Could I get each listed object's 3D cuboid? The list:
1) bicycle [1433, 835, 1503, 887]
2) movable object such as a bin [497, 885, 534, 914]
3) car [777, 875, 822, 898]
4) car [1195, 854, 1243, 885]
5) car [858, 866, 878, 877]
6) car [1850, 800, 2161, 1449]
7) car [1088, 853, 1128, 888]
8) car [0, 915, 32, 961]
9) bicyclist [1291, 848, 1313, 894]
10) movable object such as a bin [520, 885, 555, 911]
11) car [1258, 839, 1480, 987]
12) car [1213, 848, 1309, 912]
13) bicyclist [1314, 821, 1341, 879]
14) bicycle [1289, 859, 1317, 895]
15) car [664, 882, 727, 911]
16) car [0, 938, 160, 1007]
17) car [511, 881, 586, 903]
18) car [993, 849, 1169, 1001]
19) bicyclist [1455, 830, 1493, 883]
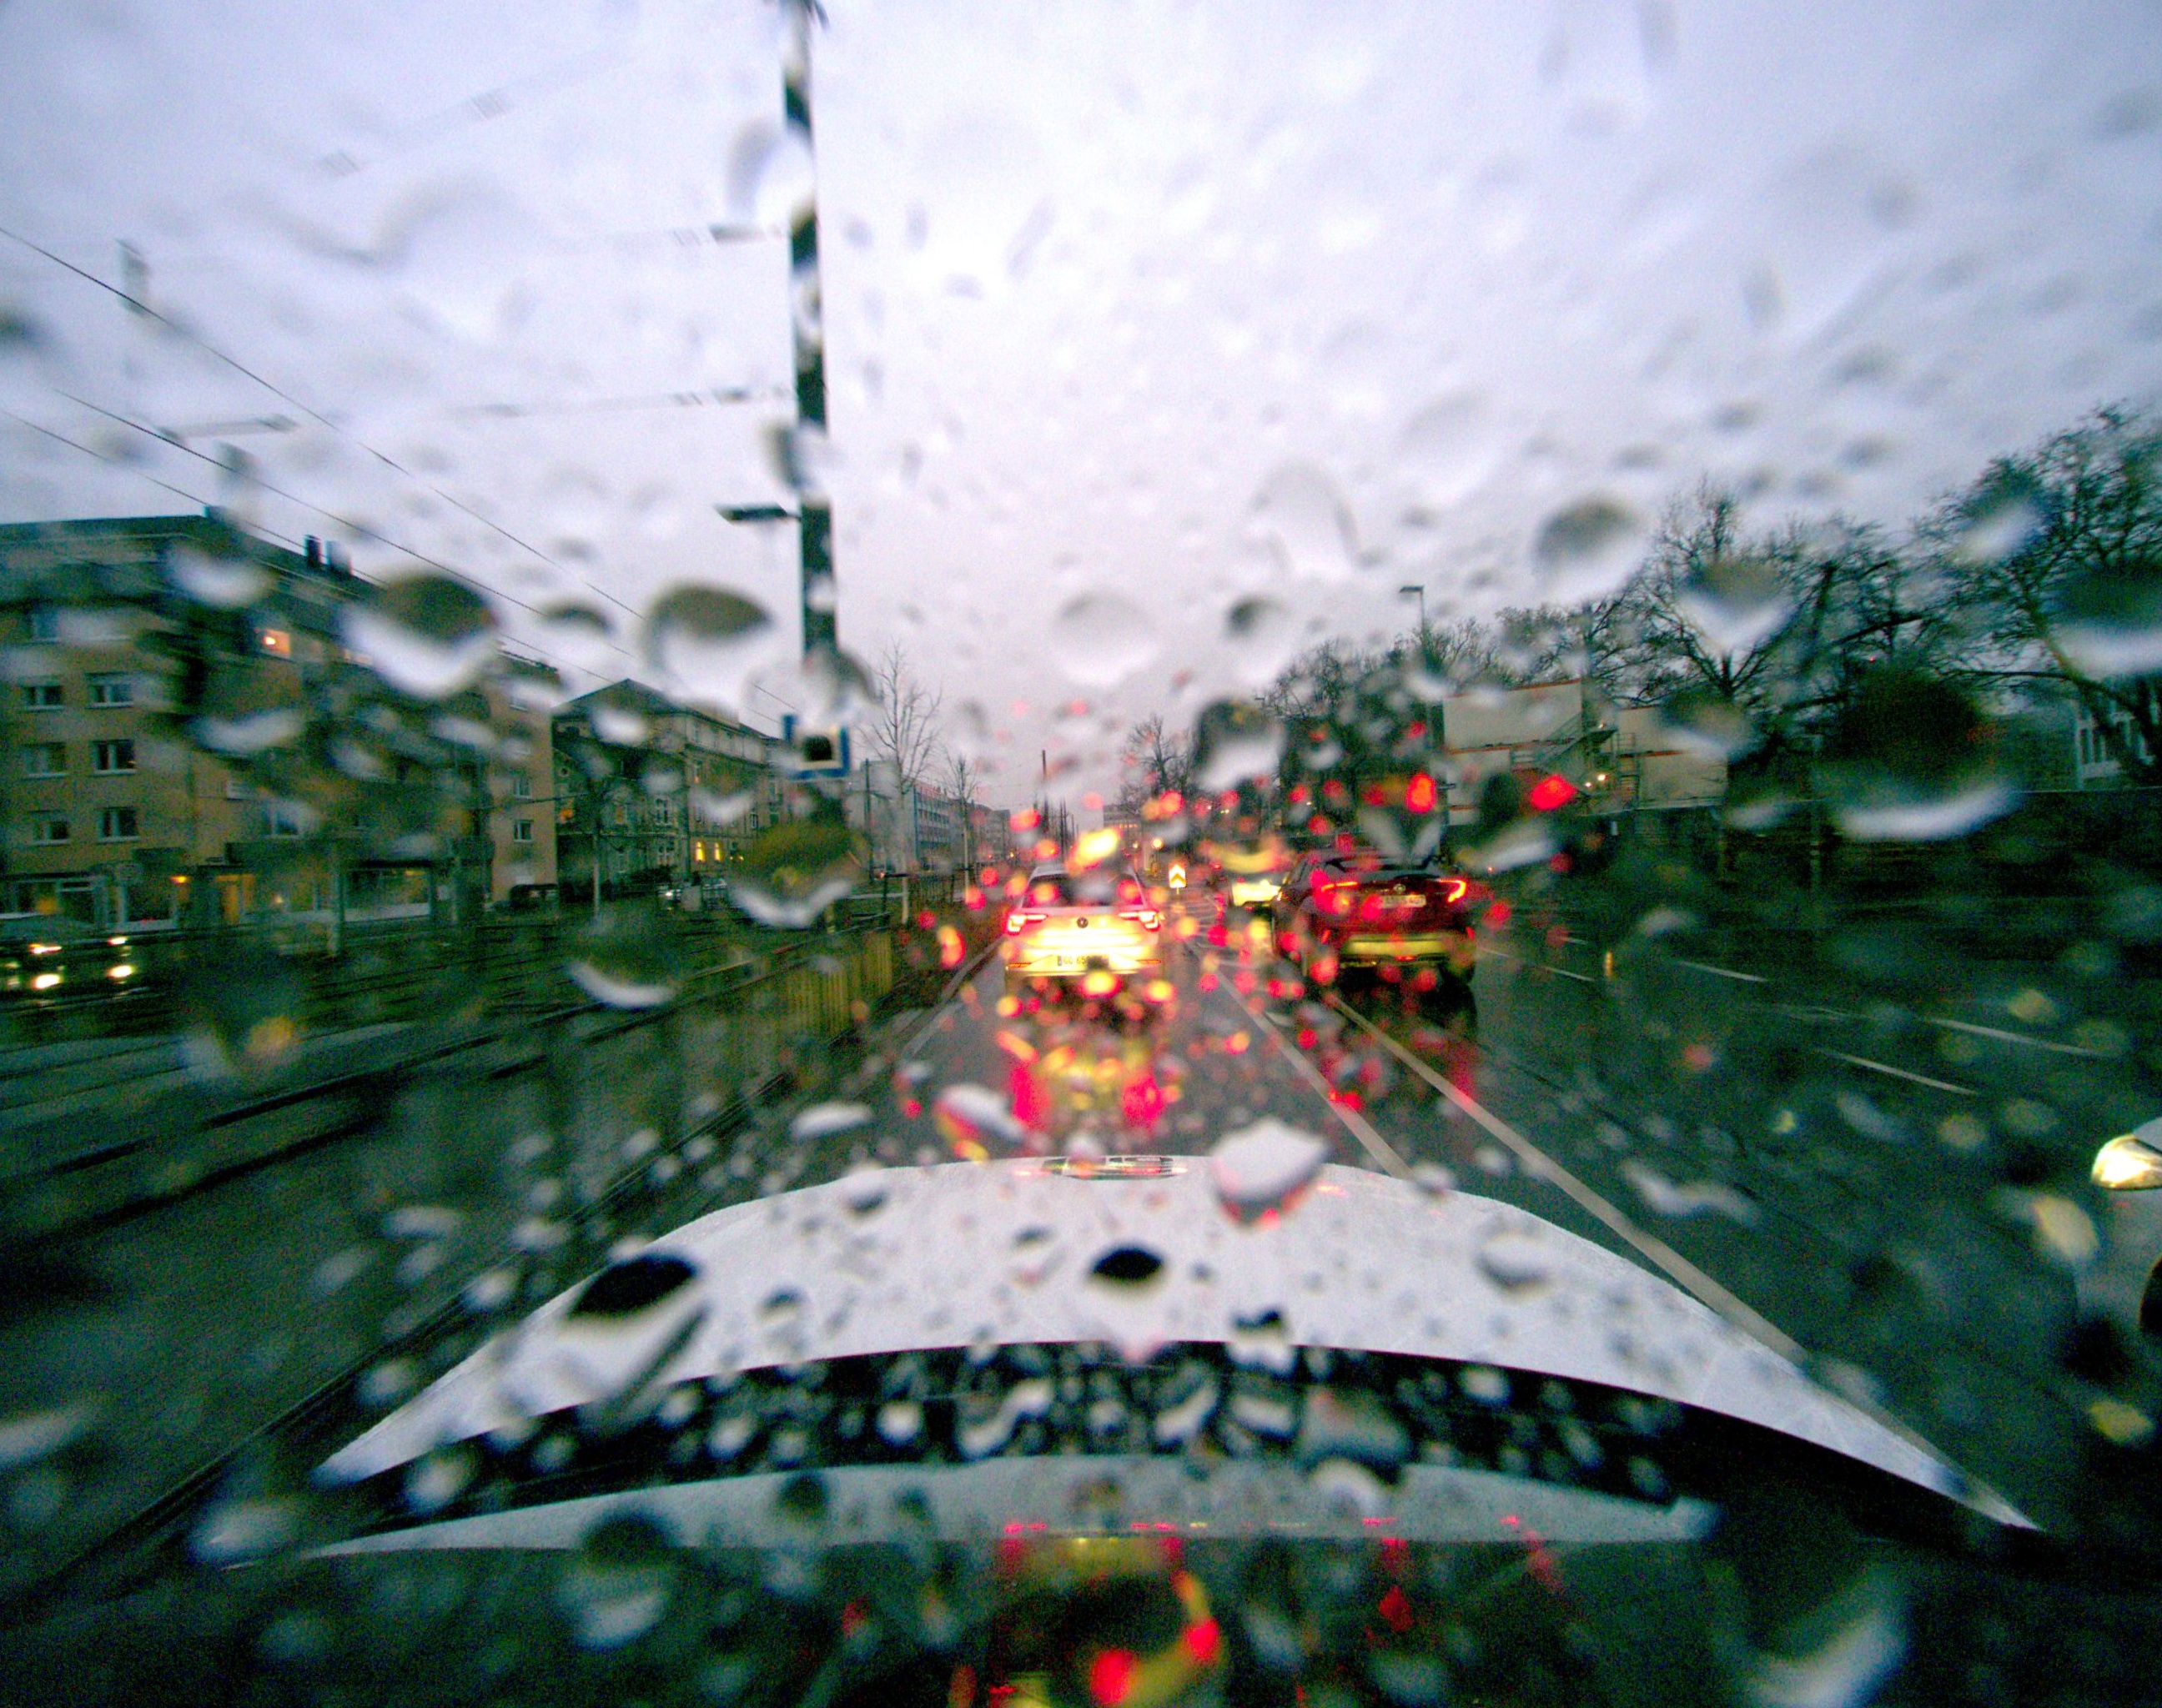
[{"bbox_3d":[12.715,0.230,26.855,0.690,1.657,2.232,0,-1,-19],"label":"bicycle"},{"bbox_3d":[-33.580,2.686,48.406,1.105,1.561,1.424,-3,0,-2],"label":"movable object such as a bin"},{"bbox_3d":[-20.510,2.351,59.459,1.795,1.585,4.000,-1,-1,0],"label":"car"},{"bbox_3d":[6.203,0.678,36.937,1.617,1.299,4.002,-1,-1,2],"label":"car"},{"bbox_3d":[-30.045,2.449,114.948,1.801,1.436,3.925,-3,0,-1],"label":"car"},{"bbox_3d":[3.271,0.589,0.142,1.779,1.501,4.971,-1,-1,4],"label":"car"},{"bbox_3d":[1.267,0.747,37.200,1.715,1.479,4.002,-1,-1,2],"label":"car"},{"bbox_3d":[-39.730,3.049,28.427,3.814,1.552,1.777,-3,0,-1],"label":"car"},{"bbox_3d":[7.916,0.592,29.202,0.498,1.591,0.837,-3,0,-1],"label":"bicyclist"},{"bbox_3d":[-33.419,2.692,50.103,1.105,1.480,1.424,-3,0,-2],"label":"movable object such as a bin"},{"bbox_3d":[3.324,0.626,10.195,1.714,1.479,4.006,-1,-1,6],"label":"car"},{"bbox_3d":[4.529,0.626,21.031,1.715,1.479,4.002,-1,-1,2],"label":"car"},{"bbox_3d":[7.680,-0.122,25.410,0.498,1.767,0.837,-3,0,-1],"label":"bicyclist"},{"bbox_3d":[7.921,0.803,29.140,0.410,1.185,1.947,-3,0,-1],"label":"bicycle"},{"bbox_3d":[-22.785,2.480,48.250,1.795,1.585,4.000,-1,-1,0],"label":"car"},{"bbox_3d":[-28.702,3.261,22.396,4.666,1.545,2.003,-2,0,4],"label":"car"},{"bbox_3d":[-36.965,2.621,56.610,3.975,1.407,1.832,-2,-1,-1],"label":"car"},{"bbox_3d":[0.082,0.725,10.015,1.715,1.479,4.002,-1,-1,2],"label":"car"},{"bbox_3d":[12.812,0.093,26.584,0.697,1.679,0.812,-2,-1,-19],"label":"bicyclist"}]
